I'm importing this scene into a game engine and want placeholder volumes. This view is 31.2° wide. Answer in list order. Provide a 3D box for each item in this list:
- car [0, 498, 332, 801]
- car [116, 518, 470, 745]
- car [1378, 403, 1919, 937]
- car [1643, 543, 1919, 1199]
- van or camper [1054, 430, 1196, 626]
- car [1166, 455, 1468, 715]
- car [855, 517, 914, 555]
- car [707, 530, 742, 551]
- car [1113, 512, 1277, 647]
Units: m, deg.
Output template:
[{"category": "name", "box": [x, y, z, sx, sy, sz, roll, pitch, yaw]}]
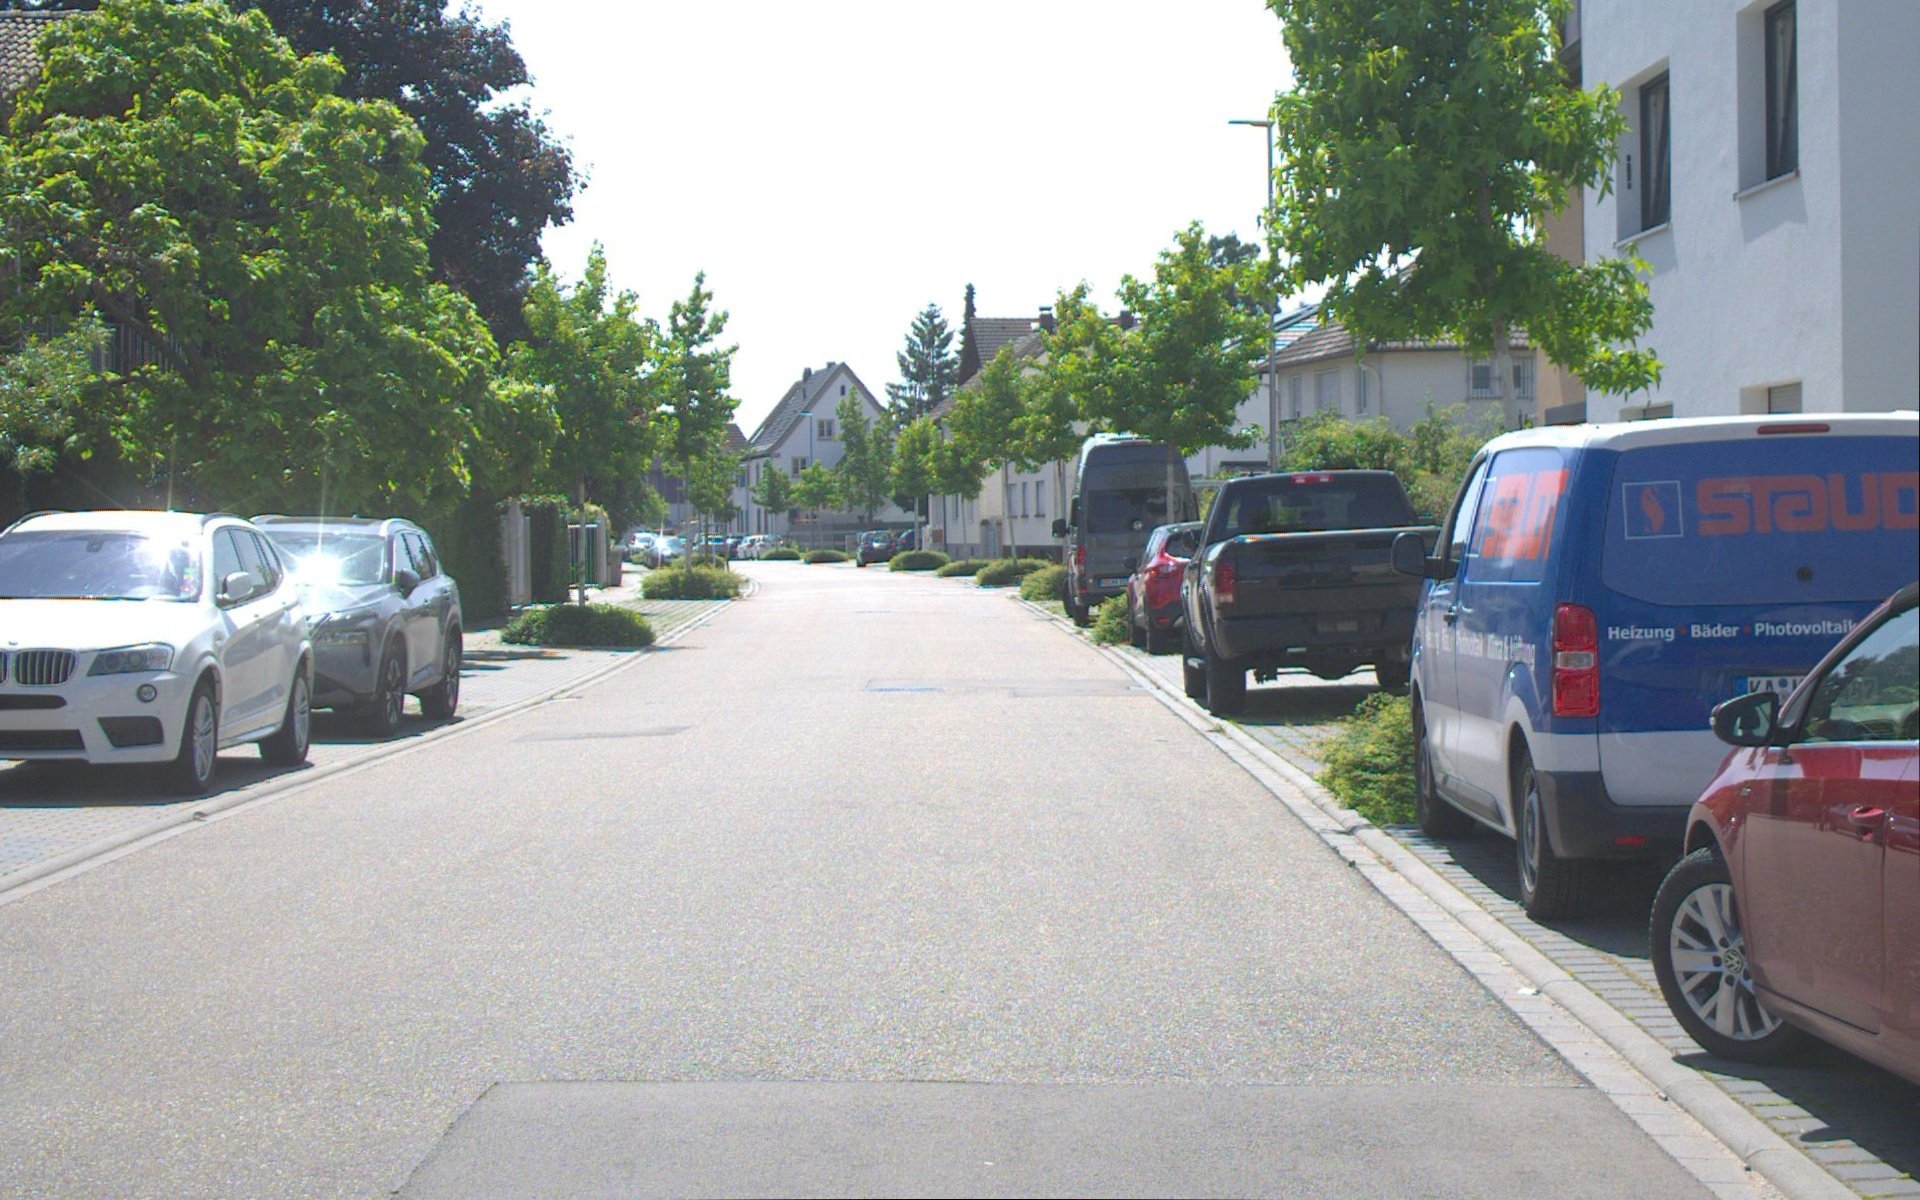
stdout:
[{"category": "car", "box": [-5.330, 0.236, 21.480, 1.927, 1.681, 4.498, -1, 1, 1]}, {"category": "car", "box": [-5.289, 0.193, 27.824, 1.993, 1.674, 4.214, -1, 1, 1]}, {"category": "car", "box": [3.079, 0.199, 14.595, 2.099, 1.875, 4.843, -1, 1, 1]}, {"category": "car", "box": [2.899, 0.596, 7.999, 1.679, 1.437, 4.027, -1, 1, -2]}, {"category": "van or camper", "box": [2.549, -1.130, 53.878, 1.993, 2.931, 4.000, -1, 1, 0]}, {"category": "car", "box": [2.902, -0.168, 29.049, 1.993, 1.940, 5.215, -2, 1, 1]}, {"category": "car", "box": [-3.259, -2.758, 148.049, 1.993, 1.568, 4.001, -1, 1, -9]}, {"category": "car", "box": [-14.285, -3.611, 208.664, 1.662, 1.246, 3.933, -1, 1, -10]}, {"category": "car", "box": [2.899, -0.272, 42.981, 1.670, 1.590, 3.556, -1, 1, -2]}]
